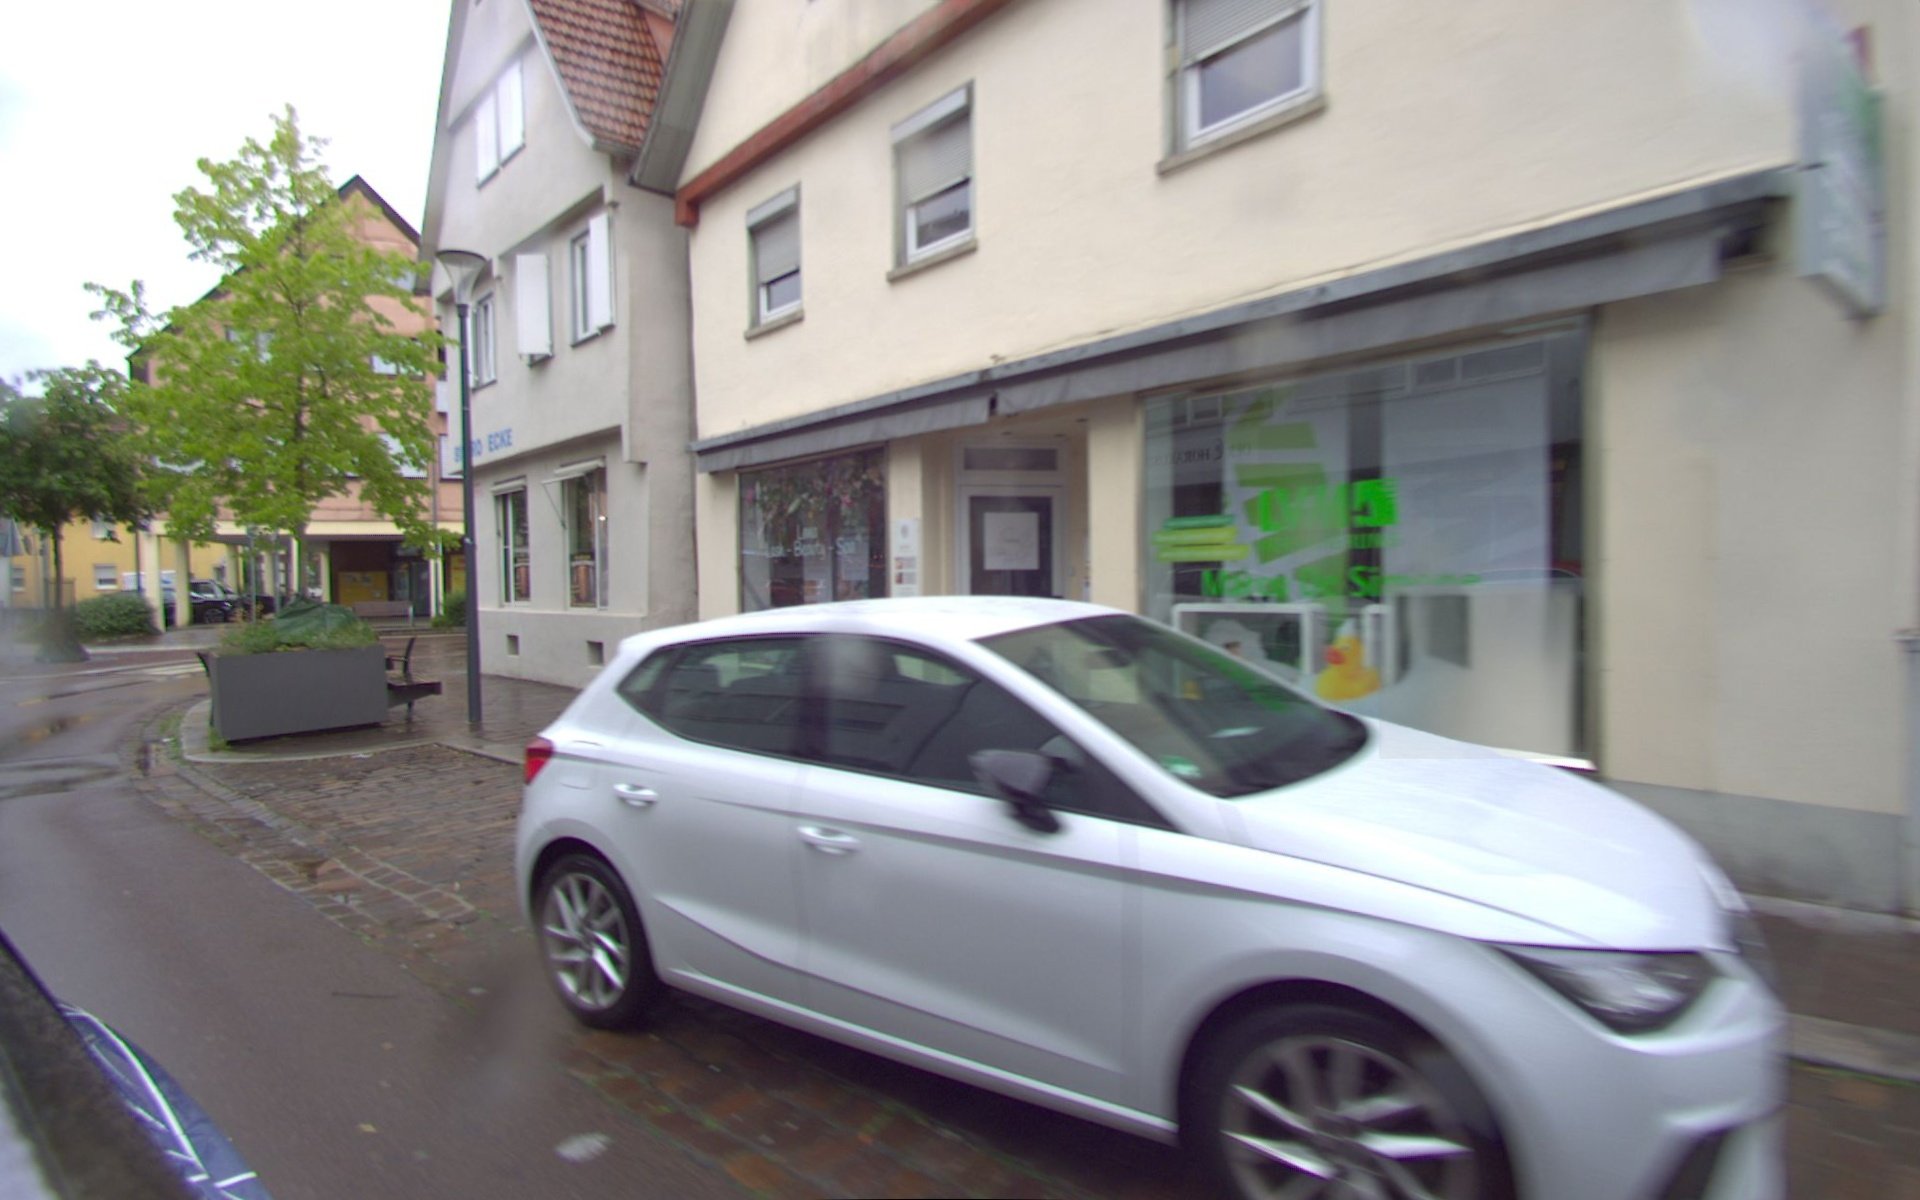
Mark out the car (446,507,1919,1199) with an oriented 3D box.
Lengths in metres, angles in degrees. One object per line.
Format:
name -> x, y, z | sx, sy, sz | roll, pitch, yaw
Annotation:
car -> 0.291, 0.629, 3.387 | 4.062, 1.463, 1.834 | -2, 0, 34

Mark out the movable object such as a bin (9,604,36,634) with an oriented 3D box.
movable object such as a bin -> -40.559, 0.820, 43.787 | 0.621, 1.242, 0.525 | 0, 2, -10

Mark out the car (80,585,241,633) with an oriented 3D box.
car -> -27.319, 0.279, 34.744 | 3.931, 1.519, 1.842 | -1, 2, -21

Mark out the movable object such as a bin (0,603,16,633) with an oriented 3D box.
movable object such as a bin -> -40.478, 0.758, 42.785 | 0.621, 1.242, 0.525 | 0, 2, -10

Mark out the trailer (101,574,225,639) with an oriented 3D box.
trailer -> -29.046, 0.229, 36.989 | 3.040, 2.103, 1.842 | -4, 1, -21

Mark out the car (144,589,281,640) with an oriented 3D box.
car -> -29.560, 0.540, 40.166 | 3.932, 1.683, 1.842 | -4, 1, -21
